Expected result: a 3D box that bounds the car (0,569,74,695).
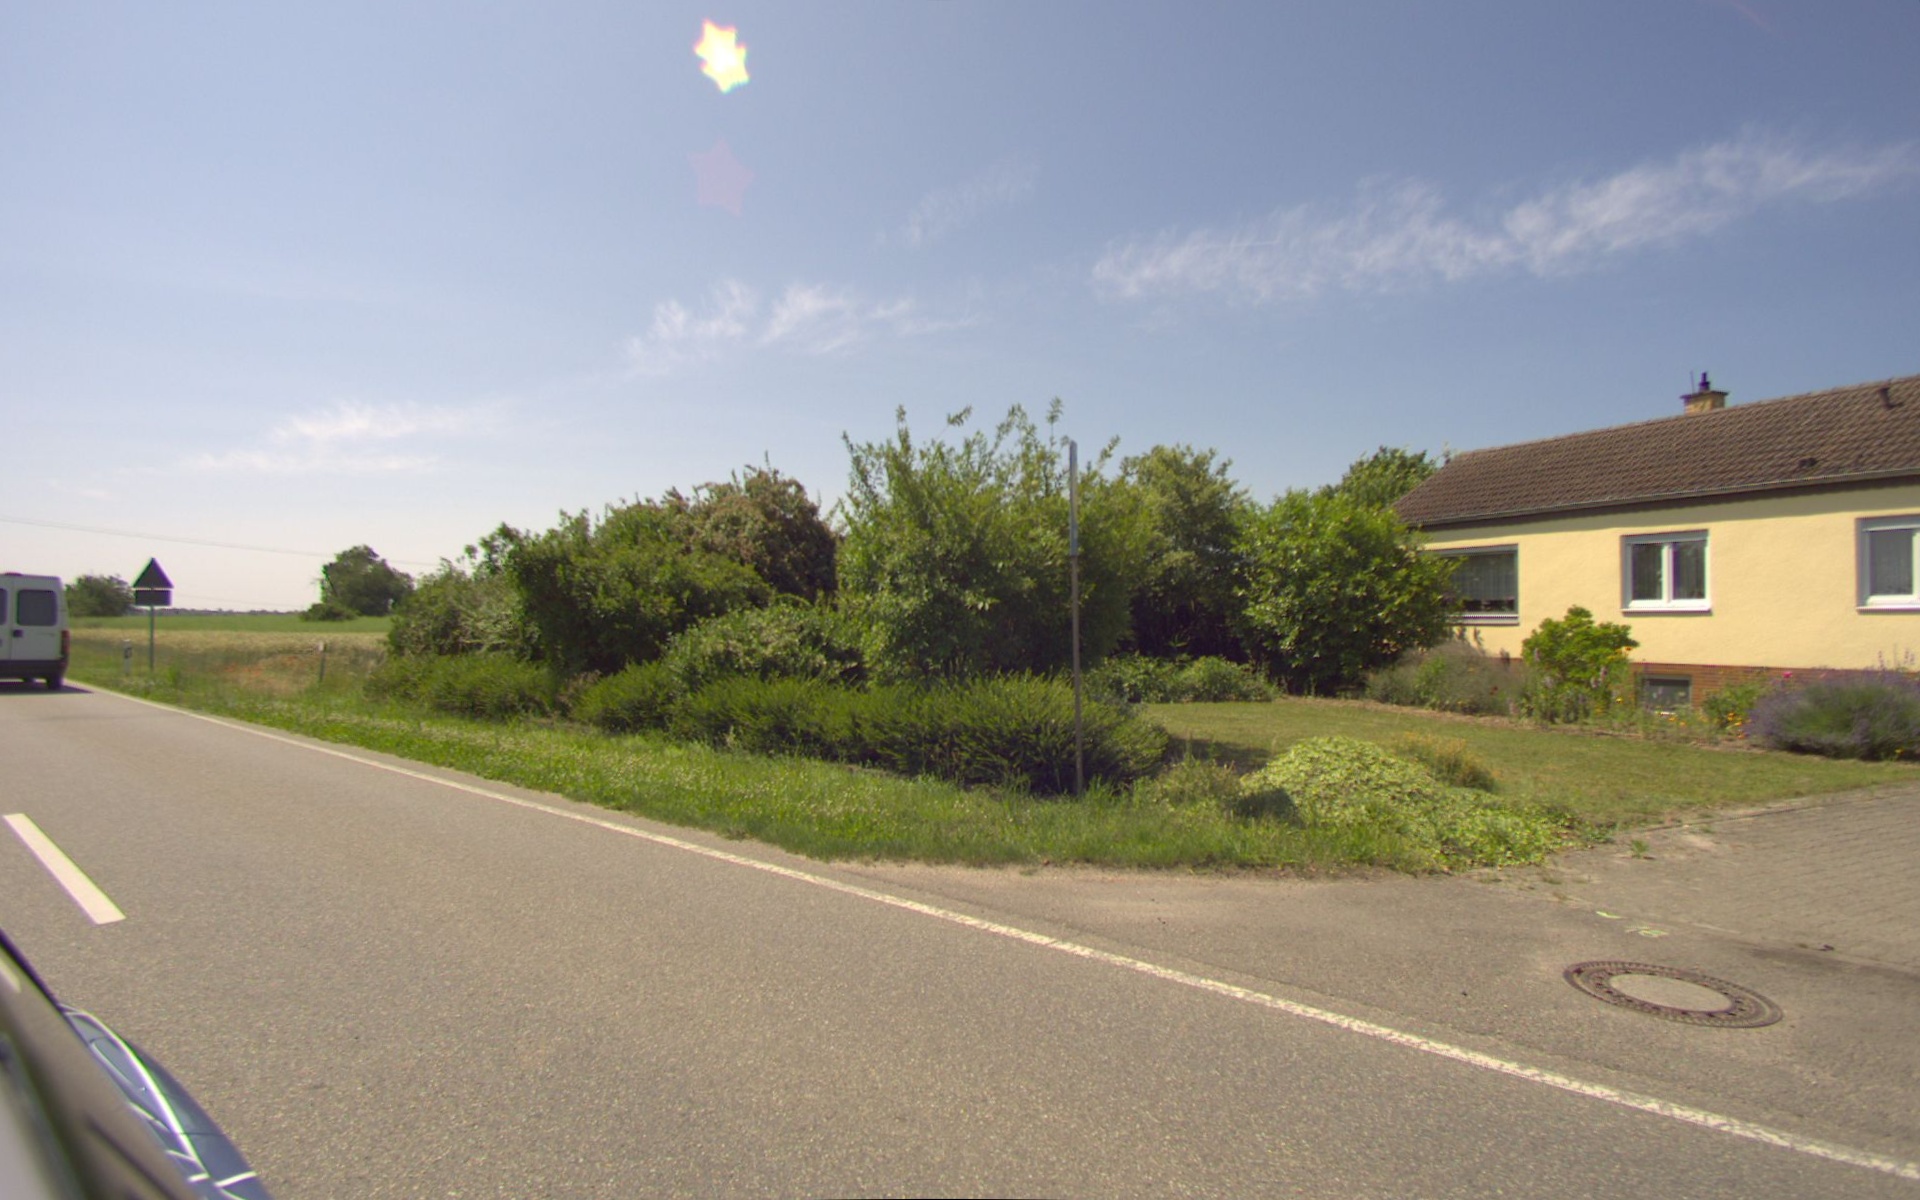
[{"bbox_3d":[-21.786,0.717,22.690,5.870,2.562,2.055,-2,-4,41],"label":"car"}]
